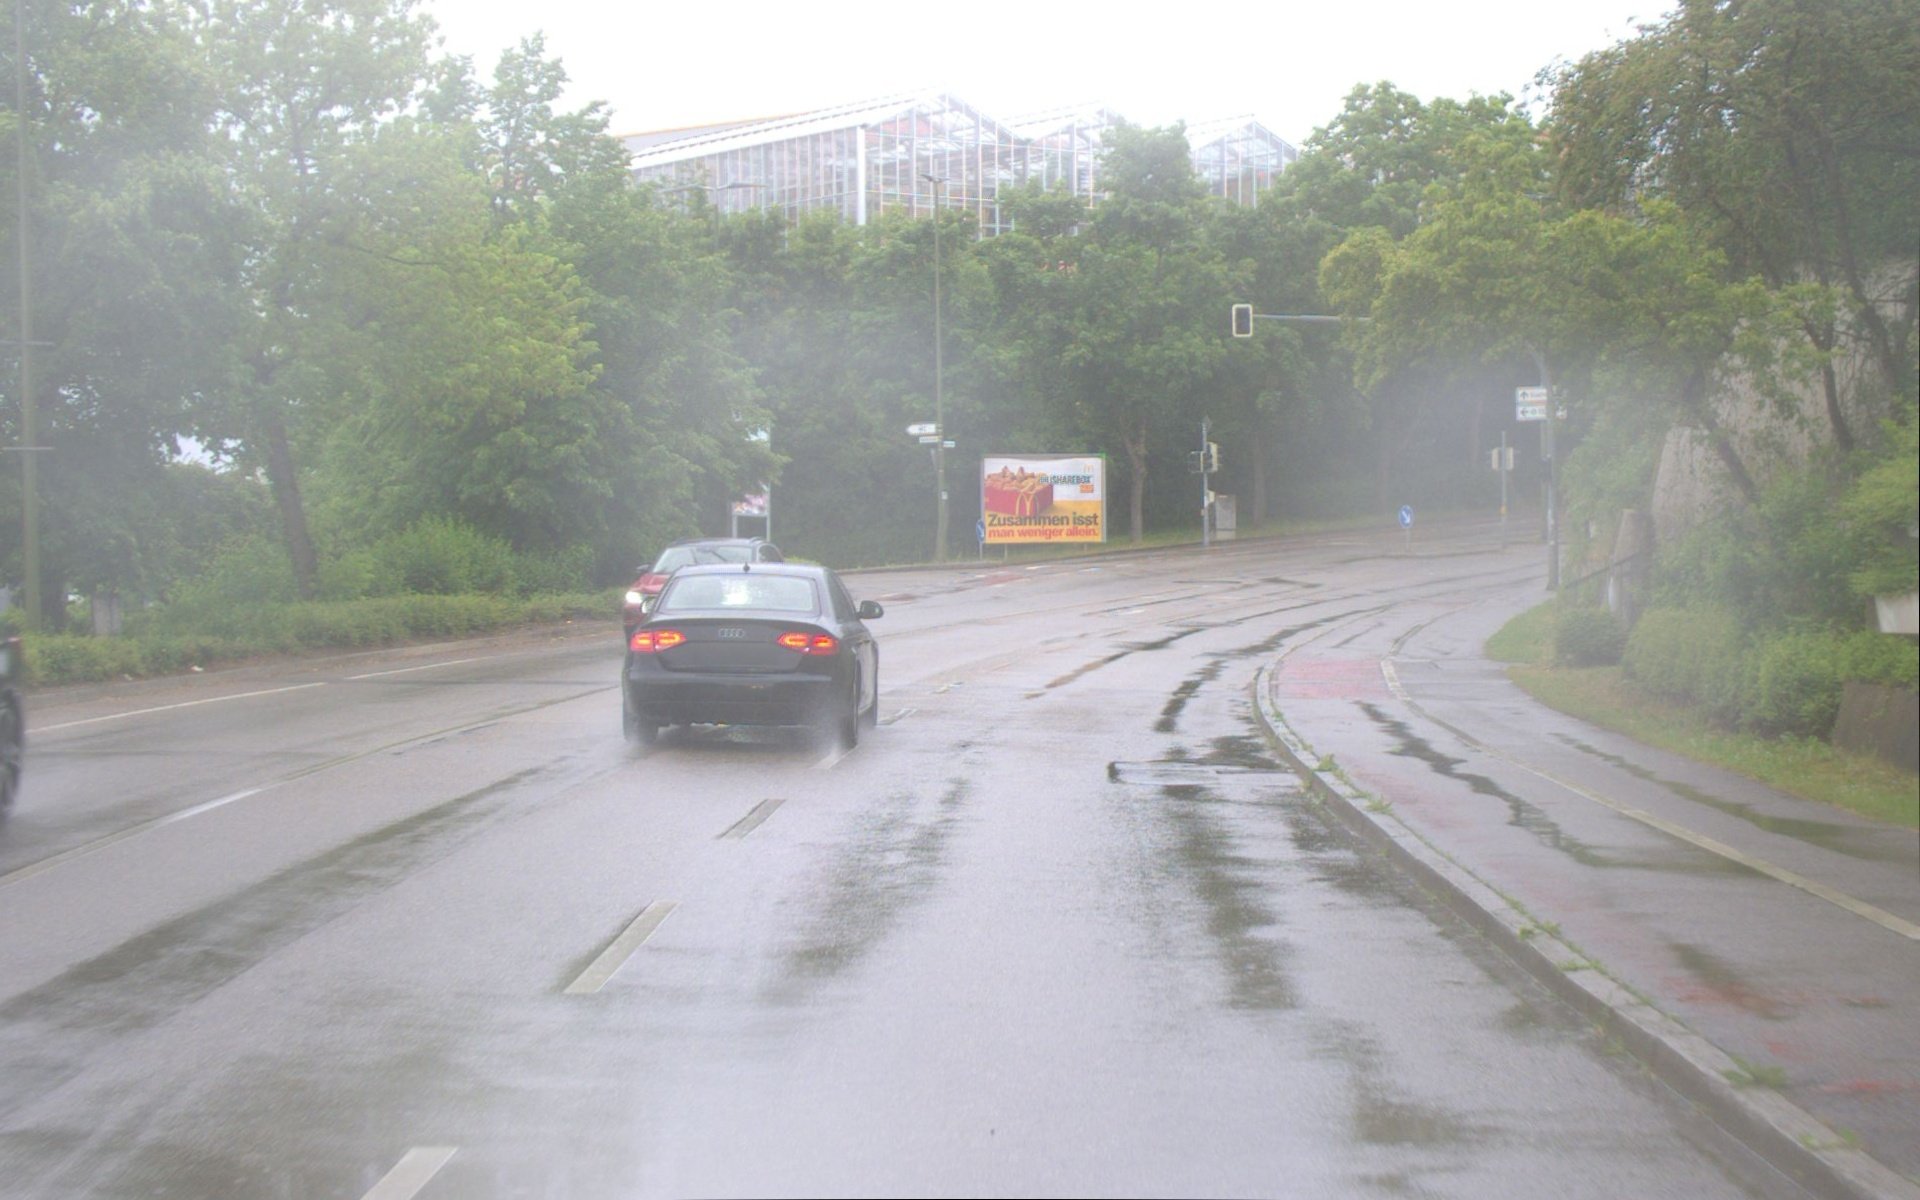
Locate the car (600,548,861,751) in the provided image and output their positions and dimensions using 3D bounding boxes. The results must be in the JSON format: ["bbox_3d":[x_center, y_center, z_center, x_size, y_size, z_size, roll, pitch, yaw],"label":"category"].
[{"bbox_3d":[-1.721,0.328,26.904,1.754,1.390,4.000,0,2,0],"label":"car"}]

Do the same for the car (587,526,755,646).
[{"bbox_3d":[-3.987,-0.230,48.023,1.754,1.530,4.000,0,2,4],"label":"car"}]

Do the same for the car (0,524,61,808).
[{"bbox_3d":[-5.812,0.336,16.360,1.723,1.457,4.543,2,1,2],"label":"car"}]
